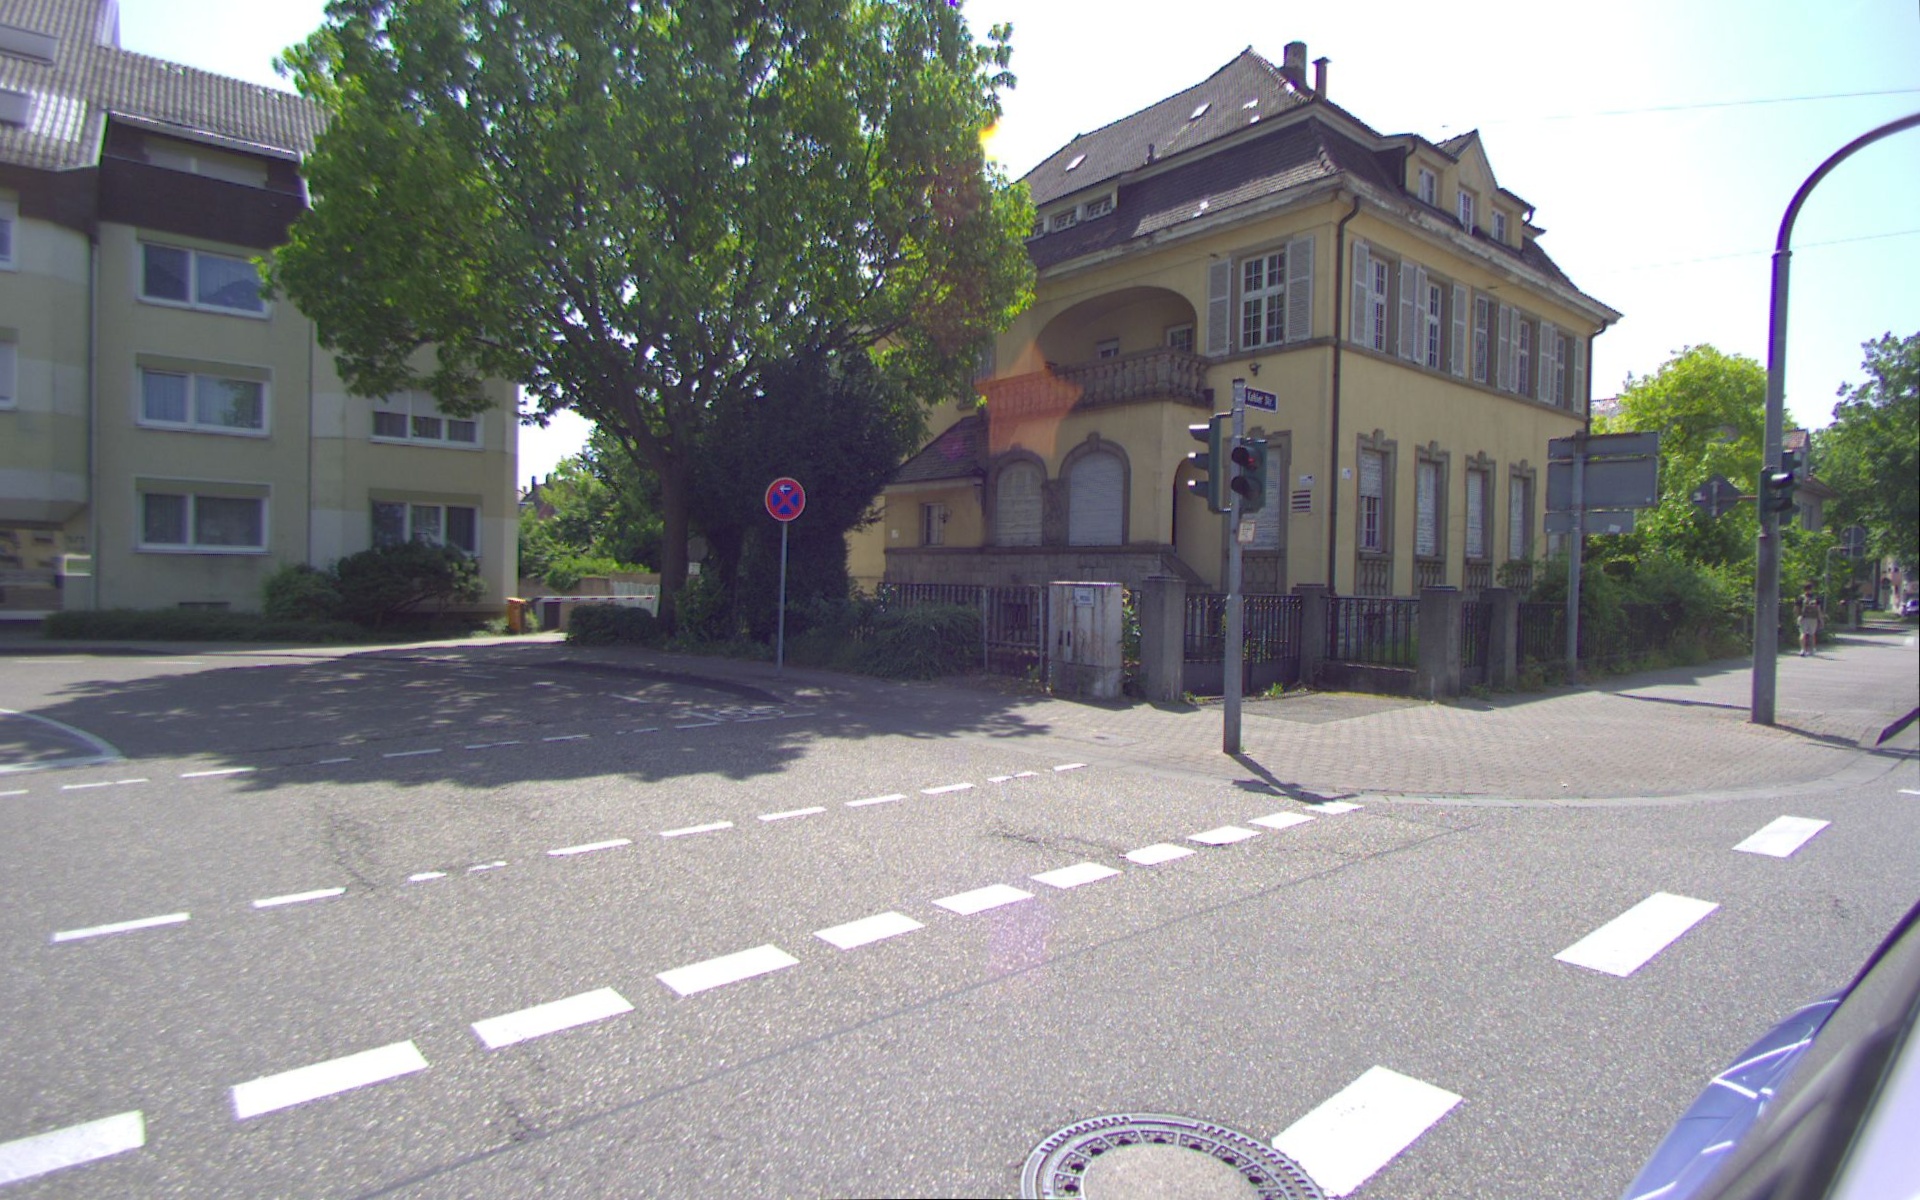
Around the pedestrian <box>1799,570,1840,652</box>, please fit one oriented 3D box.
[{"bbox_3d":[20.897,0.259,24.604,0.731,1.942,0.620,0,1,-41],"label":"pedestrian"}]
